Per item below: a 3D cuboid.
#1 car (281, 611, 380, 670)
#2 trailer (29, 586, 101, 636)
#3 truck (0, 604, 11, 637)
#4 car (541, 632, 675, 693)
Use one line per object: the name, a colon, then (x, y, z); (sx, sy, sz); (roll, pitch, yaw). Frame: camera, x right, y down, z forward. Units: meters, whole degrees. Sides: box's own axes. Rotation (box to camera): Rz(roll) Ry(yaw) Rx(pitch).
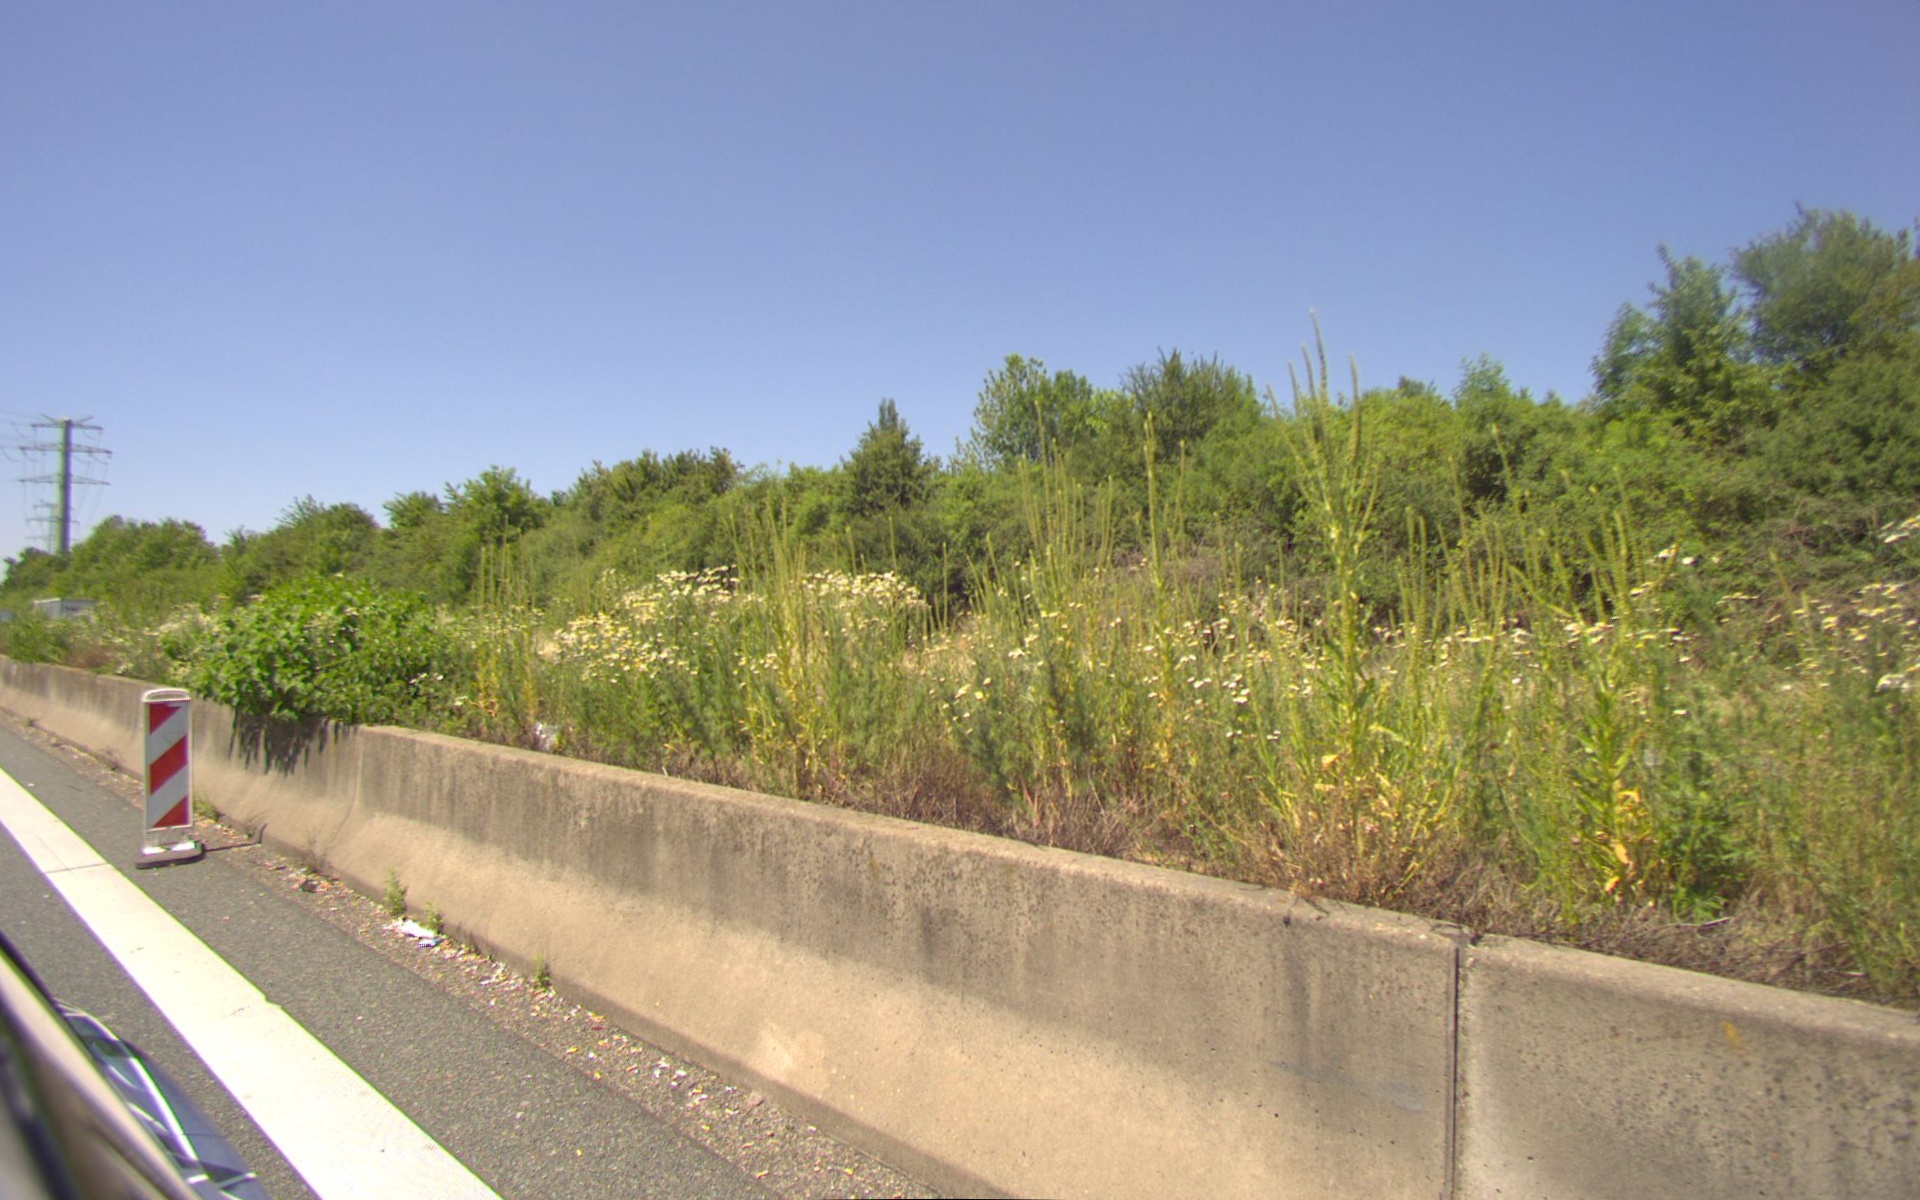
car: (-21.076, 1.333, 33.849); (3.998, 1.877, 1.685); (-1, -2, 41)
trailer: (-81.499, 1.074, 92.033); (14.014, 4.199, 2.984); (-1, -5, 42)
truck: (-118.270, 2.514, 123.325); (9.025, 3.918, 2.733); (-1, -5, 41)
car: (-9.561, 1.638, 27.358); (3.998, 1.515, 1.653); (-1, -2, 41)
